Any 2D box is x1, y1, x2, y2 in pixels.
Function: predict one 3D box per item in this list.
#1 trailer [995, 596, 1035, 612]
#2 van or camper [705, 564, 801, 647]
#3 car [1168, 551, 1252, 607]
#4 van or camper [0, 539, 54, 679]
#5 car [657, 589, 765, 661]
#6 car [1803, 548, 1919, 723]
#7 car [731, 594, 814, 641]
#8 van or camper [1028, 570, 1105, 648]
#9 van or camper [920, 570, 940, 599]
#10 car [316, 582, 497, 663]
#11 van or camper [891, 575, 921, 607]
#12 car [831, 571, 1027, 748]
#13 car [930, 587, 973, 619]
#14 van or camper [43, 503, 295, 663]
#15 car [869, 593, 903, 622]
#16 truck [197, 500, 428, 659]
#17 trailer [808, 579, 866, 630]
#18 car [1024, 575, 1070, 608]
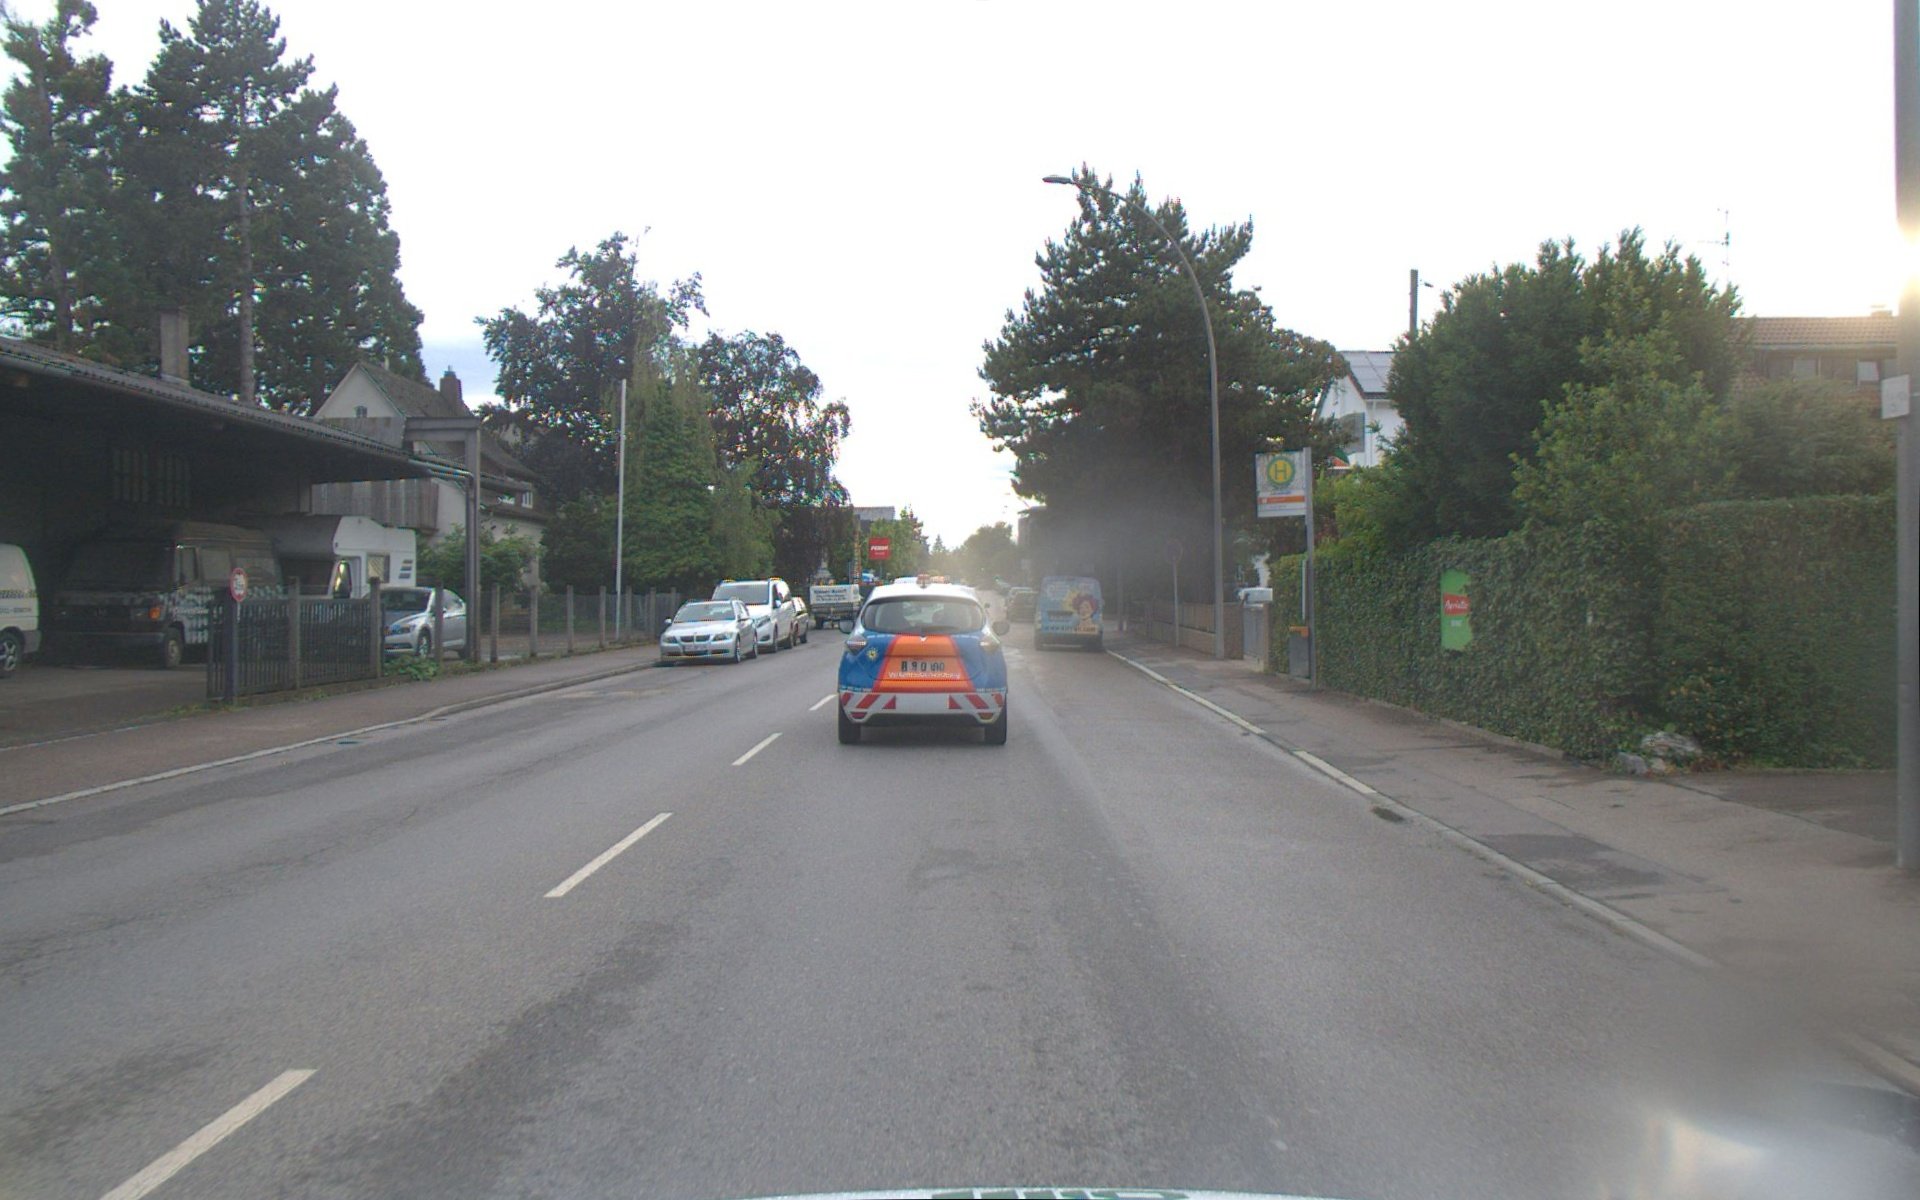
[{"bbox_3d":[2.820,0.220,85.142,1.899,0.767,2.859,-1,1,-1],"label":"trailer"},{"bbox_3d":[-5.491,0.210,44.417,1.852,2.049,5.096,2,-2,0],"label":"van or camper"},{"bbox_3d":[7.612,-0.608,50.683,1.953,1.512,3.999,2,-2,0],"label":"car"},{"bbox_3d":[-14.300,0.094,22.100,1.953,1.942,4.470,2,0,-2],"label":"van or camper"},{"bbox_3d":[-5.641,0.597,37.983,1.706,1.506,4.184,-2,-2,1],"label":"car"},{"bbox_3d":[9.518,0.360,15.382,1.626,1.574,4.002,2,-2,6],"label":"car"},{"bbox_3d":[-5.638,0.497,50.097,1.952,1.310,4.001,-1,1,1],"label":"car"},{"bbox_3d":[2.733,0.212,43.127,1.718,1.916,4.000,-1,0,0],"label":"van or camper"},{"bbox_3d":[-3.009,-1.593,166.673,1.953,2.823,5.440,-1,1,0],"label":"van or camper"},{"bbox_3d":[-10.864,0.427,32.861,1.896,1.469,4.782,1,0,1],"label":"car"},{"bbox_3d":[-4.127,-0.708,126.997,2.117,2.394,4.333,-1,1,-1],"label":"van or camper"},{"bbox_3d":[-0.373,0.549,17.711,1.851,1.660,3.998,-1,0,-2],"label":"car"},{"bbox_3d":[-0.424,0.139,87.284,1.952,1.444,4.002,-3,2,3],"label":"car"},{"bbox_3d":[-13.664,-0.197,28.987,1.821,2.480,5.232,2,-2,-1],"label":"van or camper"},{"bbox_3d":[-4.561,0.498,102.527,1.953,1.624,3.999,2,-2,-1],"label":"car"},{"bbox_3d":[-13.374,-0.363,34.710,2.345,2.978,5.957,2,-1,1],"label":"truck"},{"bbox_3d":[-5.283,0.221,71.411,2.175,2.049,4.435,2,-2,-1],"label":"trailer"},{"bbox_3d":[4.205,-0.436,80.412,1.953,1.563,4.000,-1,1,-1],"label":"car"}]
